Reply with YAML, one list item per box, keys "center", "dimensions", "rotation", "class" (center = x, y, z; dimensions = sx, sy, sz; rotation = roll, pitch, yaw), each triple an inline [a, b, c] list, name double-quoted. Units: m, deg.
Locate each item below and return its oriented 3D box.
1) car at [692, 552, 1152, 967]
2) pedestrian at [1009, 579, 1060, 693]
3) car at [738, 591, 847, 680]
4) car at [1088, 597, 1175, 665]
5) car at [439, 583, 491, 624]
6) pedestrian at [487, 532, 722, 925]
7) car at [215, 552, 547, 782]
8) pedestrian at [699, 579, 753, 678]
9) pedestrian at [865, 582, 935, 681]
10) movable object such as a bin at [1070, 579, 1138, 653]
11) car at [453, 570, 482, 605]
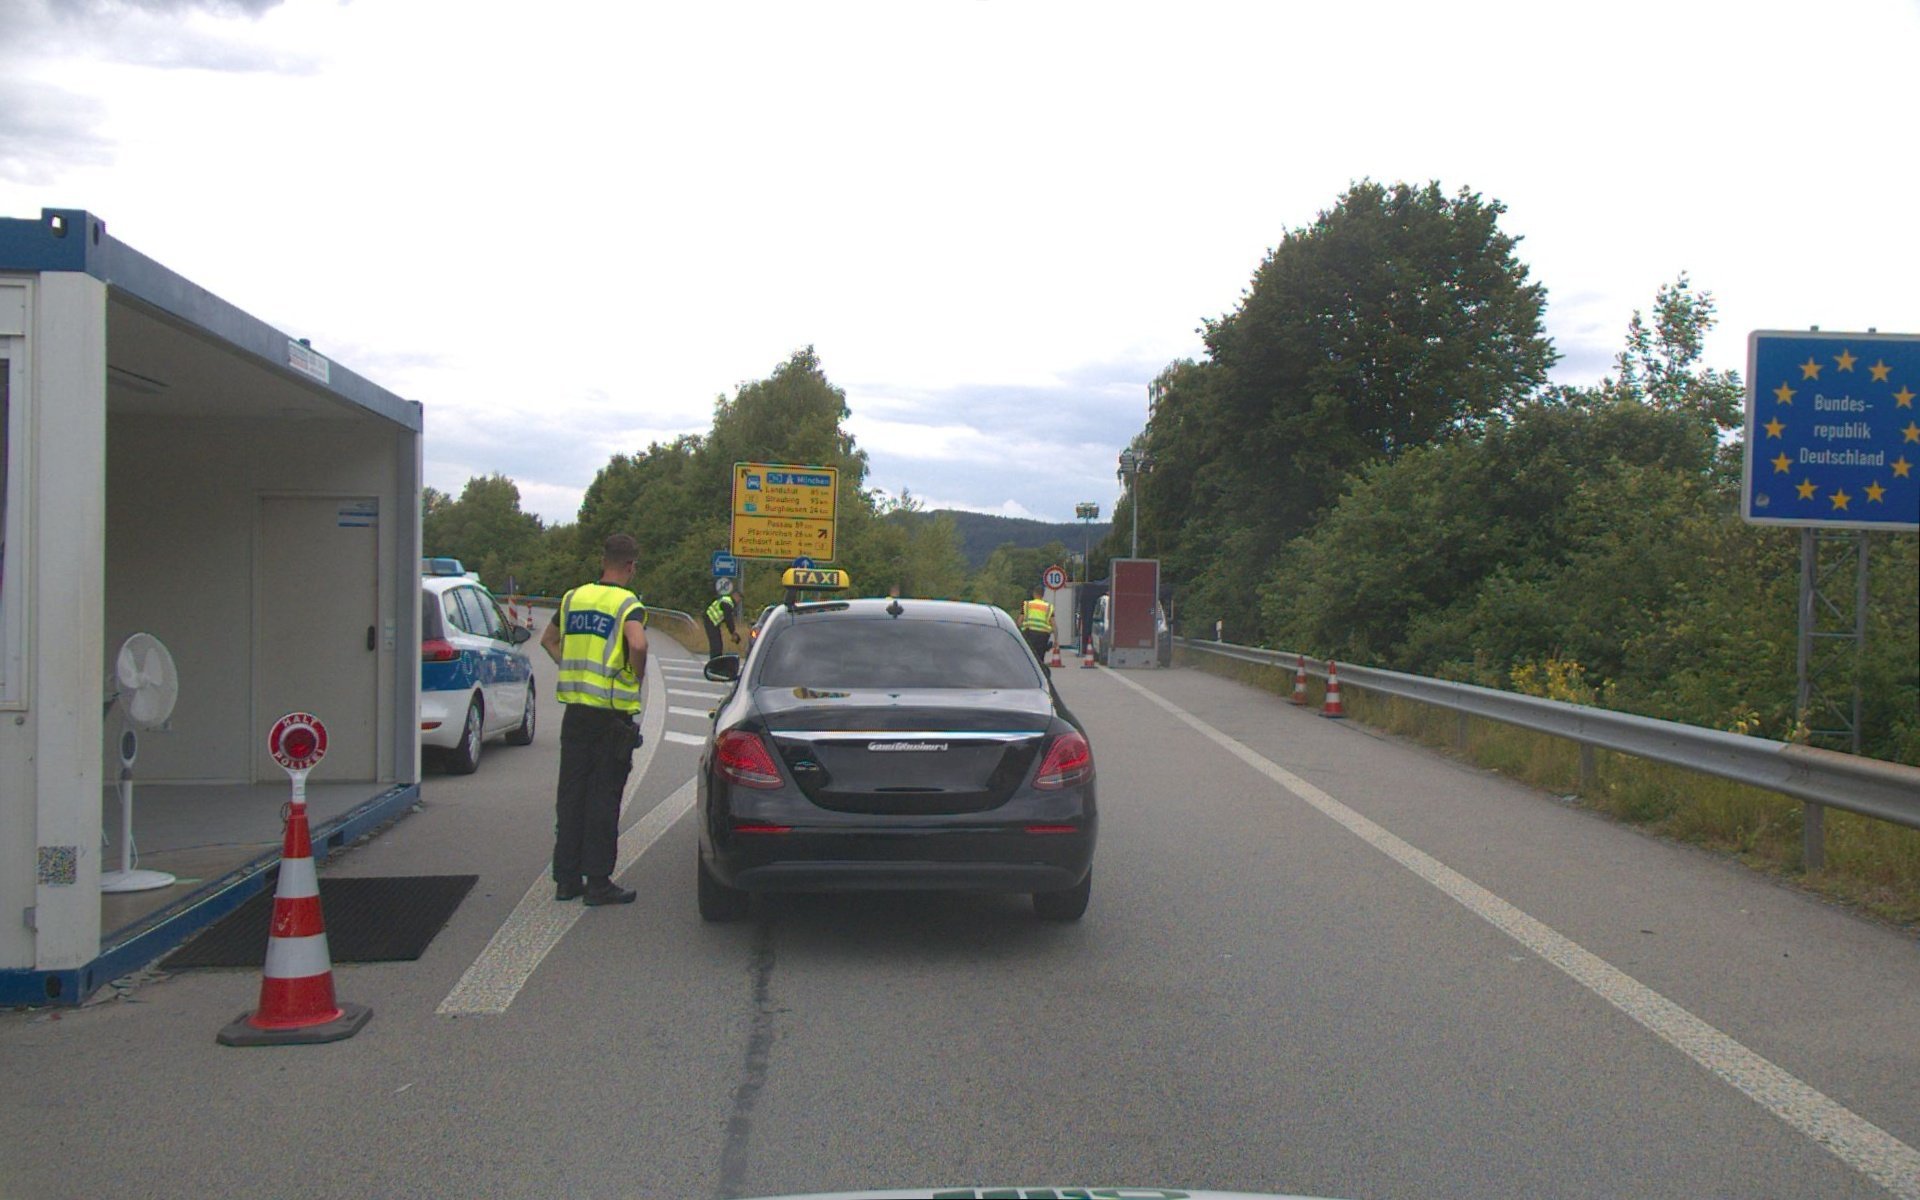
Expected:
- center: [-0.338, 0.628, 8.754]
  dimensions: [1.819, 1.623, 4.370]
  rotation: [1, 0, -5]
  class: "car"
- center: [1.225, 0.586, 27.372]
  dimensions: [0.796, 1.862, 0.809]
  rotation: [0, 0, -1]
  class: "pedestrian"
- center: [-3.034, 0.614, 30.653]
  dimensions: [1.818, 1.524, 4.253]
  rotation: [1, 0, -4]
  class: "car"
- center: [4.690, 0.810, 45.780]
  dimensions: [1.877, 1.707, 5.083]
  rotation: [2, 0, 1]
  class: "car"
- center: [-19.644, 0.128, 65.693]
  dimensions: [1.824, 1.524, 4.239]
  rotation: [1, 0, -15]
  class: "car"
- center: [-1.695, 0.572, 7.922]
  dimensions: [0.747, 1.748, 0.815]
  rotation: [0, 0, 36]
  class: "pedestrian"
- center: [-4.990, 0.523, 14.847]
  dimensions: [1.832, 1.774, 4.004]
  rotation: [1, 0, -5]
  class: "car"
- center: [-4.328, 0.516, 30.632]
  dimensions: [0.893, 1.800, 0.911]
  rotation: [1, 0, -4]
  class: "pedestrian"
- center: [-1.073, 0.547, 29.449]
  dimensions: [0.900, 1.727, 0.903]
  rotation: [1, 0, -32]
  class: "pedestrian"
- center: [4.721, 0.499, 54.625]
  dimensions: [1.952, 2.320, 4.168]
  rotation: [1, 0, 1]
  class: "movable object such as a bin"
- center: [-32.654, -0.808, 109.717]
  dimensions: [1.825, 2.261, 4.237]
  rotation: [1, 0, -16]
  class: "car"
